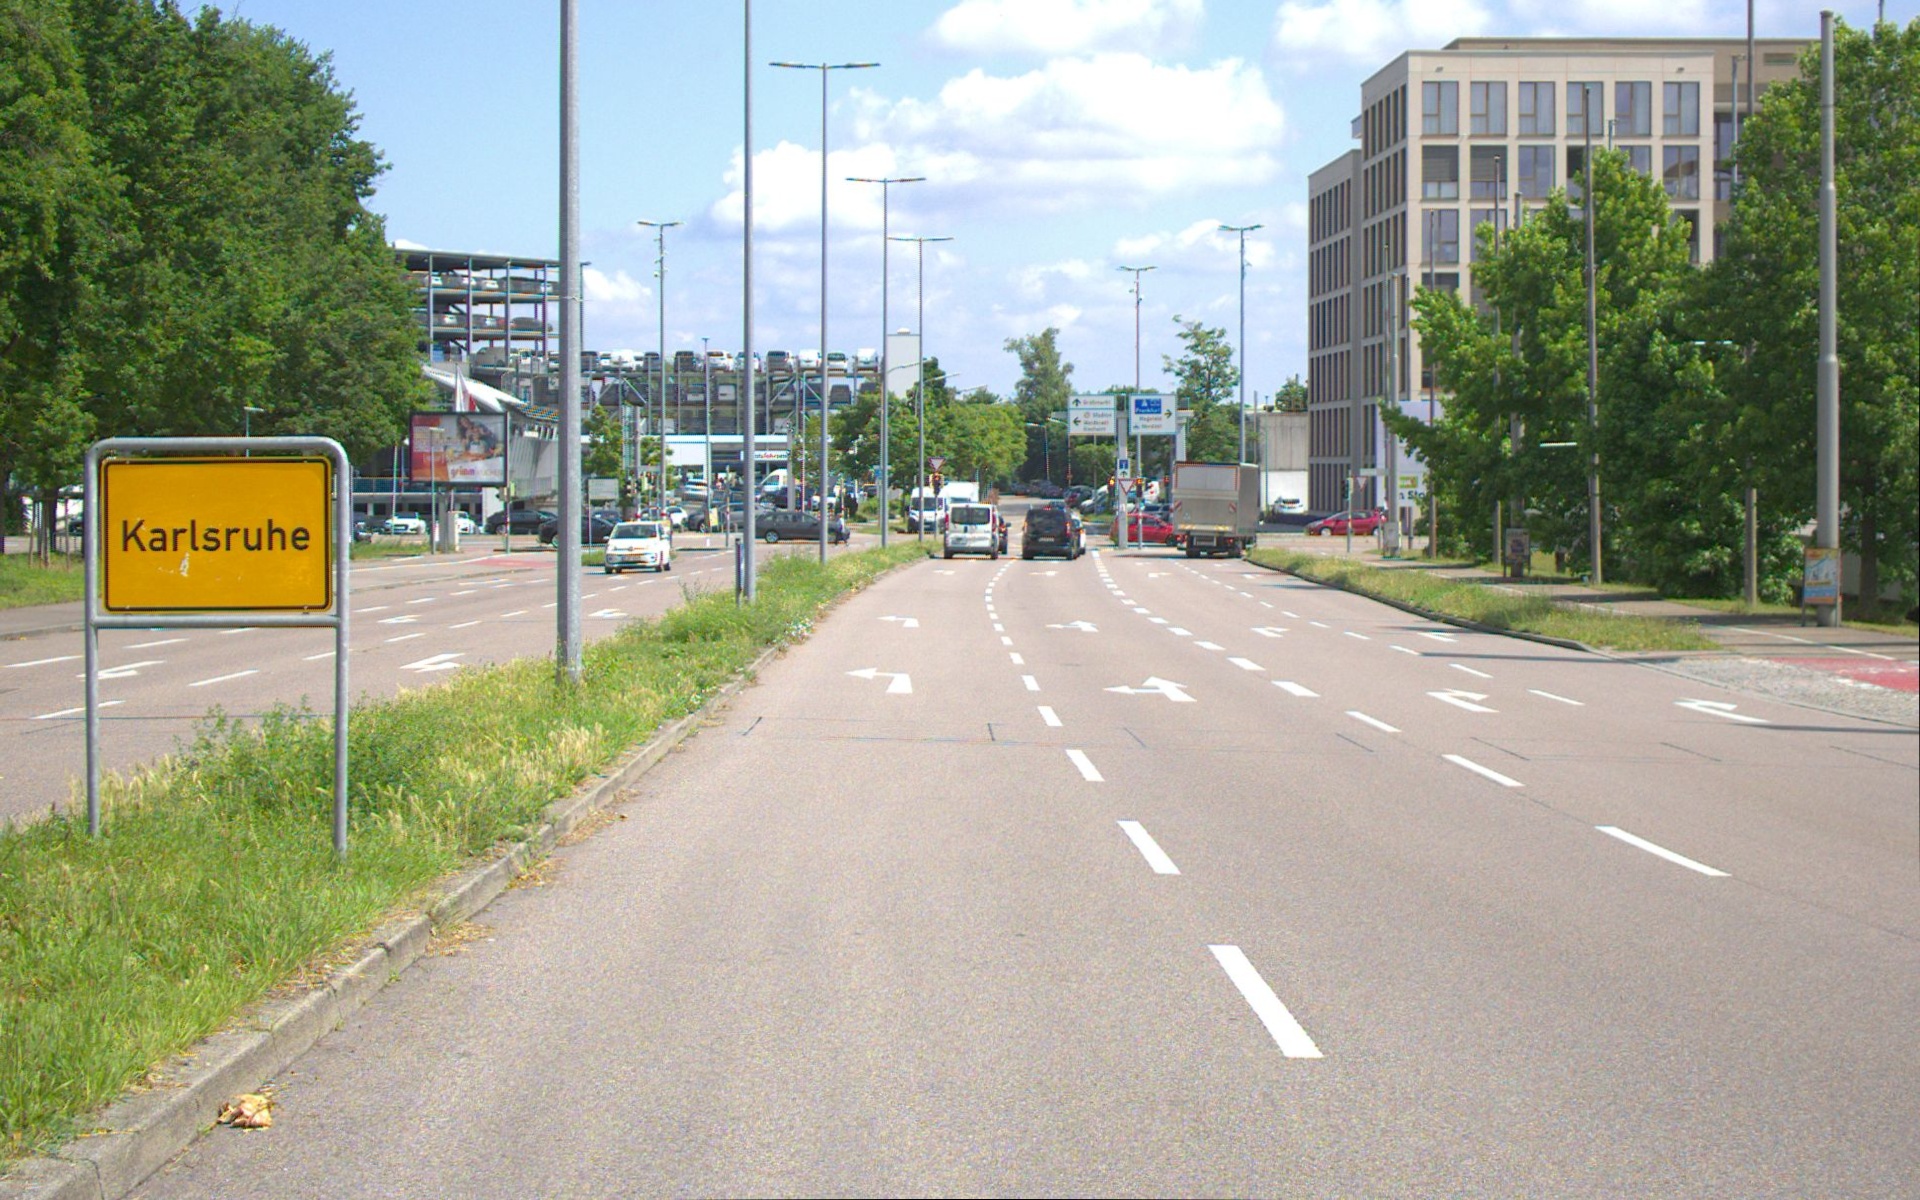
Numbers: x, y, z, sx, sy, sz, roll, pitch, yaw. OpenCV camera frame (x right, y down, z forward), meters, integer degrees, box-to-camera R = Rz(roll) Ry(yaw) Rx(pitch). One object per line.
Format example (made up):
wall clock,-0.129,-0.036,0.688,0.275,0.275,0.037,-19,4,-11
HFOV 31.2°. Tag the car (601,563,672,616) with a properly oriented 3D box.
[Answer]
car,-9.307,-0.317,99.113,1.643,1.424,3.670,-1,1,0

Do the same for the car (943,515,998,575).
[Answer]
car,0.360,-1.967,121.315,1.856,2.011,4.000,1,2,0

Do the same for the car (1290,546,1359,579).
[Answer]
car,18.263,-1.898,172.230,3.273,1.400,1.334,1,10,0

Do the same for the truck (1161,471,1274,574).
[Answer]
truck,10.343,-3.125,137.375,3.131,3.927,8.853,1,2,13

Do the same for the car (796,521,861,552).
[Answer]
car,-8.366,-4.042,218.456,3.986,1.919,1.827,1,1,-4

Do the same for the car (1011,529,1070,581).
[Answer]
car,2.912,-1.637,123.326,1.820,1.802,3.999,1,1,5
